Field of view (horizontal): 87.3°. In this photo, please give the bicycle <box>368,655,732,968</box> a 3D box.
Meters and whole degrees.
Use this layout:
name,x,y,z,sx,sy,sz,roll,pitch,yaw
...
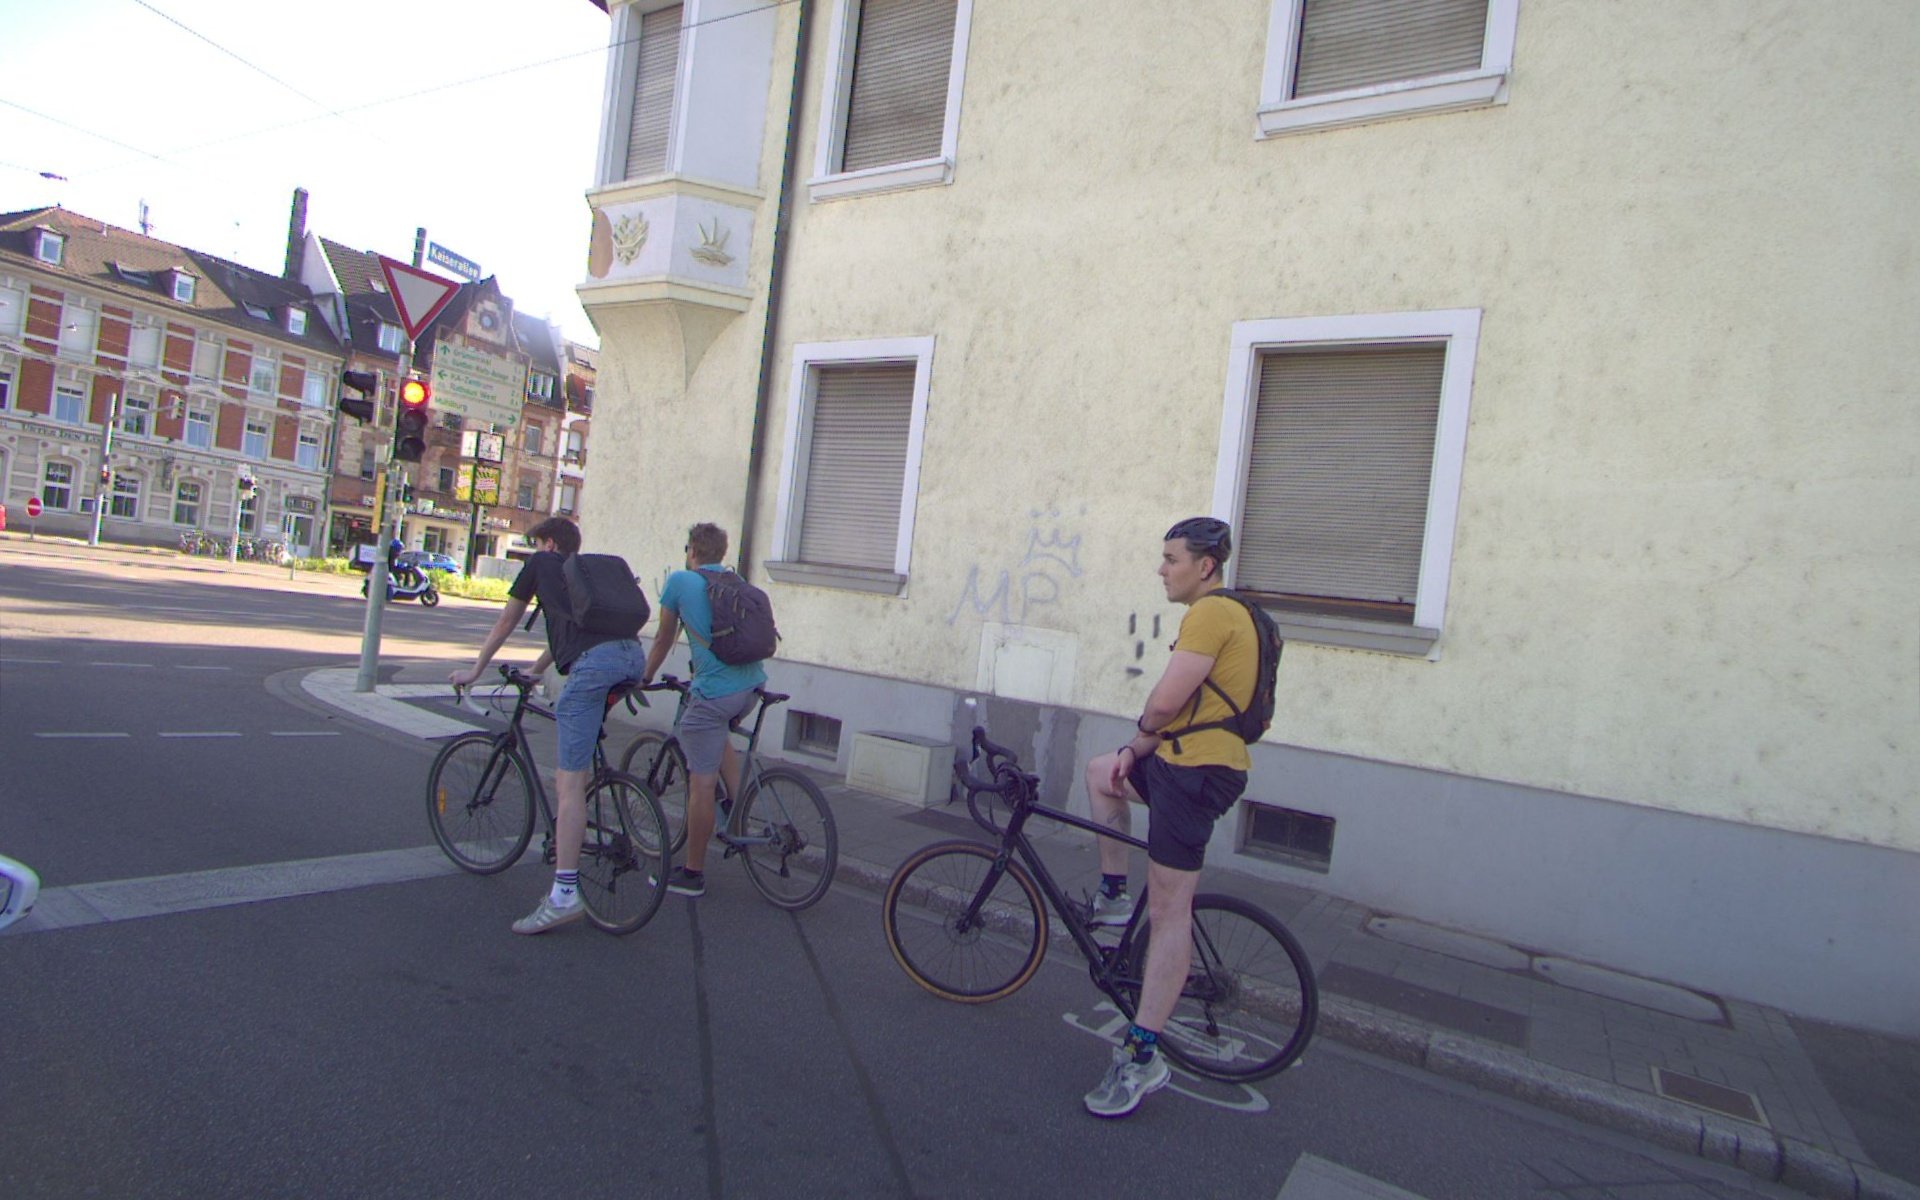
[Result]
name,x,y,z,sx,sy,sz,roll,pitch,yaw
bicycle,-1.900,0.864,4.550,1.753,1.003,0.482,6,-1,32

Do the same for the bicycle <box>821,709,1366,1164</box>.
name,x,y,z,sx,sy,sz,roll,pitch,yaw
bicycle,0.492,1.105,3.738,1.709,1.119,0.783,7,-1,18

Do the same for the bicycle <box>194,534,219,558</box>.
name,x,y,z,sx,sy,sz,roll,pitch,yaw
bicycle,-34.757,-2.509,46.397,0.762,0.979,2.186,8,-2,-39

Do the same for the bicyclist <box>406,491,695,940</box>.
name,x,y,z,sx,sy,sz,roll,pitch,yaw
bicyclist,-1.850,0.467,4.553,0.920,1.787,0.590,6,-1,32

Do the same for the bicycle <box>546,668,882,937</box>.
name,x,y,z,sx,sy,sz,roll,pitch,yaw
bicycle,-1.315,0.970,5.217,1.753,0.995,0.504,6,-1,32

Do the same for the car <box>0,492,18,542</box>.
name,x,y,z,sx,sy,sz,roll,pitch,yaw
car,-31.424,-2.847,29.729,1.770,1.487,4.877,8,-1,19

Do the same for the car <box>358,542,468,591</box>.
name,x,y,z,sx,sy,sz,roll,pitch,yaw
car,-25.436,-1.550,46.886,1.775,1.641,3.994,6,-2,33

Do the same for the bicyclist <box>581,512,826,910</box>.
name,x,y,z,sx,sy,sz,roll,pitch,yaw
bicyclist,-1.347,0.532,5.272,0.960,1.868,0.504,6,-1,32

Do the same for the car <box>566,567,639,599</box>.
name,x,y,z,sx,sy,sz,roll,pitch,yaw
car,-23.096,-1.089,65.083,1.842,1.454,3.985,6,-2,35

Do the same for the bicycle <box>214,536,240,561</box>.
name,x,y,z,sx,sy,sz,roll,pitch,yaw
bicycle,-34.260,-2.418,47.019,0.762,0.995,2.186,8,-2,-39

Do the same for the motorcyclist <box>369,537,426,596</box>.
name,x,y,z,sx,sy,sz,roll,pitch,yaw
motorcyclist,-13.959,-0.835,24.962,1.009,1.315,0.782,8,-2,-36

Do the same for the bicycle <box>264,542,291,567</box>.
name,x,y,z,sx,sy,sz,roll,pitch,yaw
bicycle,-33.009,-2.203,48.608,0.789,1.027,2.186,8,-2,-39

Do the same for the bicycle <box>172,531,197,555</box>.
name,x,y,z,sx,sy,sz,roll,pitch,yaw
bicycle,-35.359,-2.610,45.872,0.762,0.974,2.186,8,-2,-39

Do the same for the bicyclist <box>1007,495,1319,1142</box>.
name,x,y,z,sx,sy,sz,roll,pitch,yaw
bicyclist,0.764,0.703,3.667,0.763,1.990,0.783,7,0,18

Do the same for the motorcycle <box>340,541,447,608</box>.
name,x,y,z,sx,sy,sz,roll,pitch,yaw
motorcycle,-14.027,-0.616,24.931,2.124,1.349,0.789,9,-2,-36

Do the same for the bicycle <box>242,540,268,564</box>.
name,x,y,z,sx,sy,sz,roll,pitch,yaw
bicycle,-33.611,-2.308,47.966,0.762,1.019,2.196,8,-2,-39
